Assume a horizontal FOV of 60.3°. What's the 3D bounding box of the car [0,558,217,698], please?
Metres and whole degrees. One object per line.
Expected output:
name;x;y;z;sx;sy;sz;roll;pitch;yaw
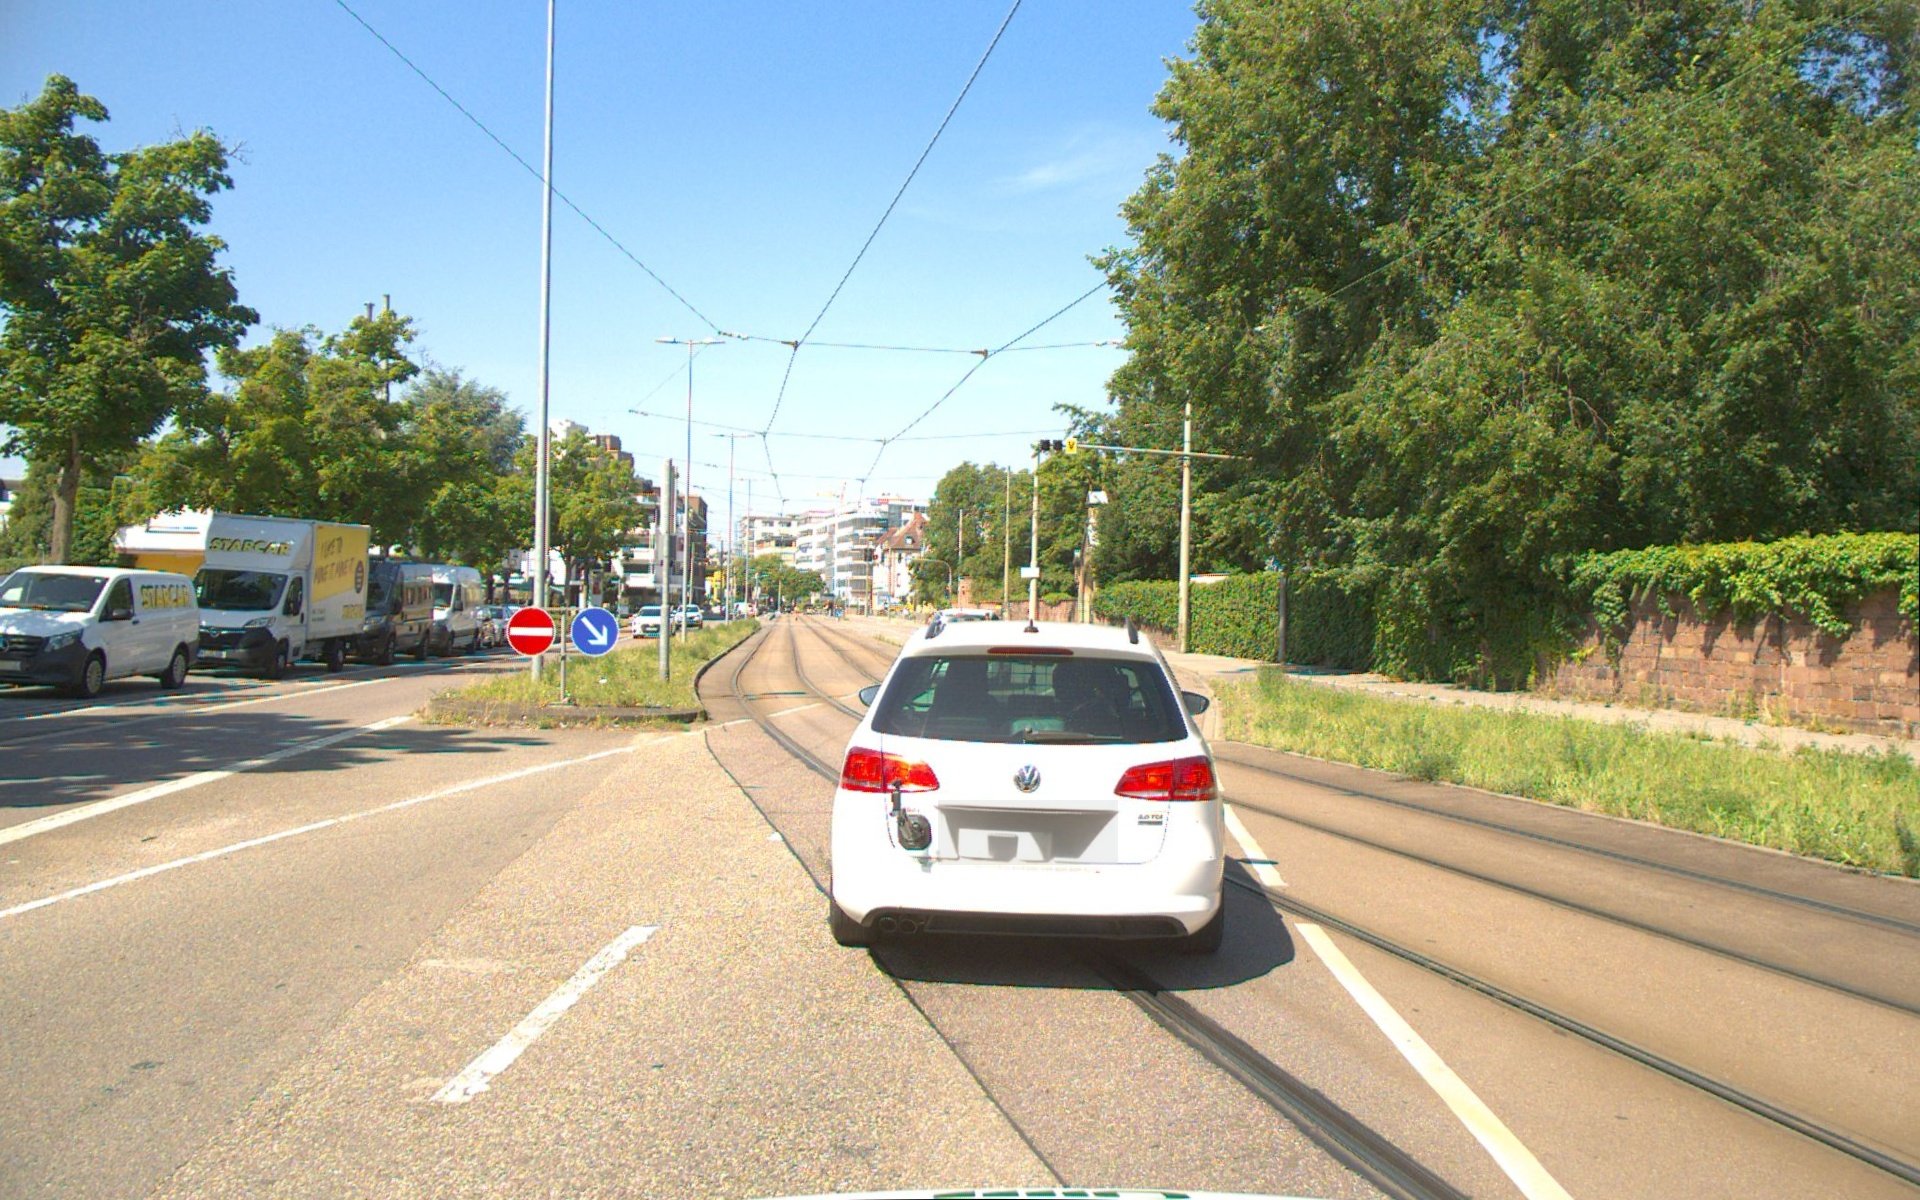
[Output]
car;-13.711;0.403;25.965;2.153;1.975;5.179;1;0;-6

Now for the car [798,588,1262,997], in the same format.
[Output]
car;0.385;0.727;8.178;1.741;1.516;3.848;1;0;4

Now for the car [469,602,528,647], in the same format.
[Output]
car;-16.654;0.861;59.858;1.267;1.516;4.345;3;0;-6

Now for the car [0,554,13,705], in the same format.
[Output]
car;-13.225;0.371;19.226;2.156;1.975;5.173;1;0;-10

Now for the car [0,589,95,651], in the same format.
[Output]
car;-26.707;0.558;46.436;3.912;1.724;1.660;0;-1;-8

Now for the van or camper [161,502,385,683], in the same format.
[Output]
van or camper;-14.066;-0.130;34.429;2.153;3.298;6.765;3;0;-4

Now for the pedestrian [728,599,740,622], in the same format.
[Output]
pedestrian;-17.855;0.821;130.684;0.812;1.769;0.929;0;0;-14

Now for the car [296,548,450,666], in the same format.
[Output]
car;-14.866;0.173;42.307;2.153;2.715;6.072;3;0;-5

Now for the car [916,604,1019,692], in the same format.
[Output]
car;0.210;0.948;34.094;1.694;1.624;4.013;2;0;6

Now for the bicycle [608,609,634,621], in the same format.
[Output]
bicycle;-26.391;1.168;128.932;0.542;0.937;2.168;0;0;37

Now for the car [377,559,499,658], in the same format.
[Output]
car;-15.456;0.244;49.343;2.153;2.676;5.972;3;0;-5

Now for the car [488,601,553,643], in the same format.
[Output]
car;-17.229;0.826;65.053;1.573;1.516;4.613;3;0;-4

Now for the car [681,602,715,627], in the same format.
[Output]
car;-17.710;0.957;112.015;2.004;1.625;4.654;1;0;-6

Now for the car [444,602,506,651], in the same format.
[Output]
car;-16.193;0.866;55.338;1.267;1.516;3.672;3;0;-5

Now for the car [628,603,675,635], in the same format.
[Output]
car;-14.285;0.866;76.659;1.757;1.447;4.330;1;0;-6
